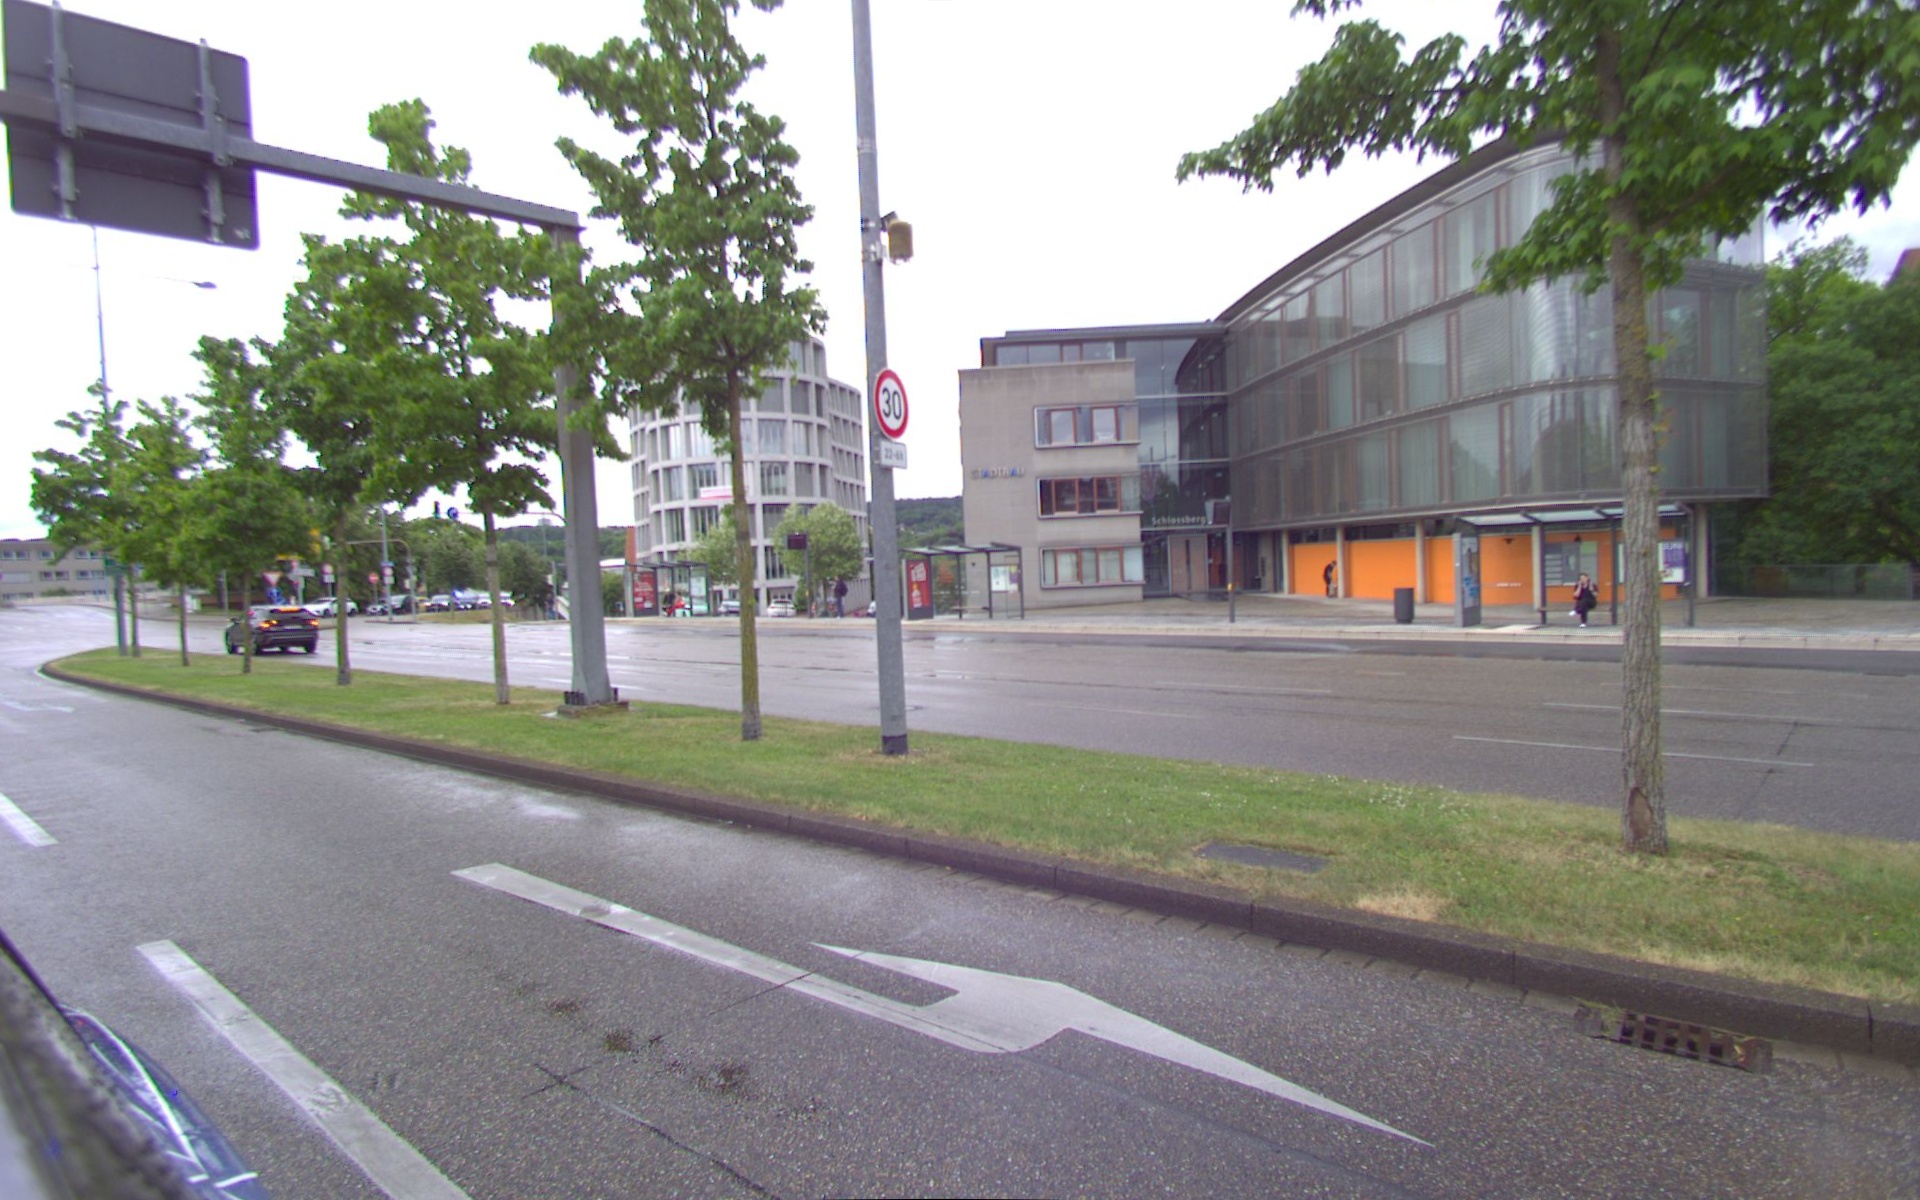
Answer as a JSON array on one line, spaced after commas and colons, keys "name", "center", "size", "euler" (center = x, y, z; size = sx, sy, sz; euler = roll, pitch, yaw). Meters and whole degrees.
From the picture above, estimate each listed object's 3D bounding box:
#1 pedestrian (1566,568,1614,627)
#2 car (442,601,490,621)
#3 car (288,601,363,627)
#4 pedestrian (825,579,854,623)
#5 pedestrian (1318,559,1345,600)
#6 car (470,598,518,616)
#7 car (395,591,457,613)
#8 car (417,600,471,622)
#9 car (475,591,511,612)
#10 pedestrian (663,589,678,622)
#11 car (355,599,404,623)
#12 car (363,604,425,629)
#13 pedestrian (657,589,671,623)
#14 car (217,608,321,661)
[{"name": "pedestrian", "center": [14.618, -0.048, 23.481], "size": [0.790, 1.334, 0.793], "euler": [-1, 0, 42]}, {"name": "car", "center": [-44.902, 0.994, 92.119], "size": [2.164, 1.725, 4.920], "euler": [-1, 0, -3]}, {"name": "car", "center": [-46.650, 1.025, 74.552], "size": [2.169, 1.725, 4.909], "euler": [-1, 0, 5]}, {"name": "pedestrian", "center": [-4.952, 0.028, 41.665], "size": [0.964, 1.773, 0.783], "euler": [-1, 0, 12]}, {"name": "pedestrian", "center": [15.291, -0.827, 41.703], "size": [0.697, 1.666, 0.852], "euler": [-1, 0, -6]}, {"name": "car", "center": [-48.657, 0.767, 105.608], "size": [4.897, 1.725, 2.174], "euler": [-1, 0, 30]}, {"name": "car", "center": [-53.033, 0.180, 100.590], "size": [4.963, 2.029, 2.311], "euler": [-1, 0, 0]}, {"name": "car", "center": [-43.278, 0.864, 85.008], "size": [2.164, 1.725, 4.919], "euler": [-1, 0, -3]}, {"name": "car", "center": [-46.016, 0.173, 99.790], "size": [1.969, 2.029, 4.005], "euler": [-1, 0, -6]}, {"name": "pedestrian", "center": [-14.547, 0.297, 50.905], "size": [0.535, 1.647, 0.514], "euler": [-1, 0, 41]}, {"name": "car", "center": [-47.644, 0.905, 83.168], "size": [1.970, 1.807, 4.004], "euler": [-1, -1, -4]}, {"name": "car", "center": [-43.314, 1.212, 77.611], "size": [2.164, 1.725, 4.919], "euler": [-1, 0, -3]}, {"name": "pedestrian", "center": [-14.717, 0.302, 50.337], "size": [0.501, 1.647, 0.497], "euler": [-1, 0, 41]}, {"name": "car", "center": [-23.853, 1.142, 34.864], "size": [4.597, 1.652, 1.803], "euler": [-1, 1, 41]}]
